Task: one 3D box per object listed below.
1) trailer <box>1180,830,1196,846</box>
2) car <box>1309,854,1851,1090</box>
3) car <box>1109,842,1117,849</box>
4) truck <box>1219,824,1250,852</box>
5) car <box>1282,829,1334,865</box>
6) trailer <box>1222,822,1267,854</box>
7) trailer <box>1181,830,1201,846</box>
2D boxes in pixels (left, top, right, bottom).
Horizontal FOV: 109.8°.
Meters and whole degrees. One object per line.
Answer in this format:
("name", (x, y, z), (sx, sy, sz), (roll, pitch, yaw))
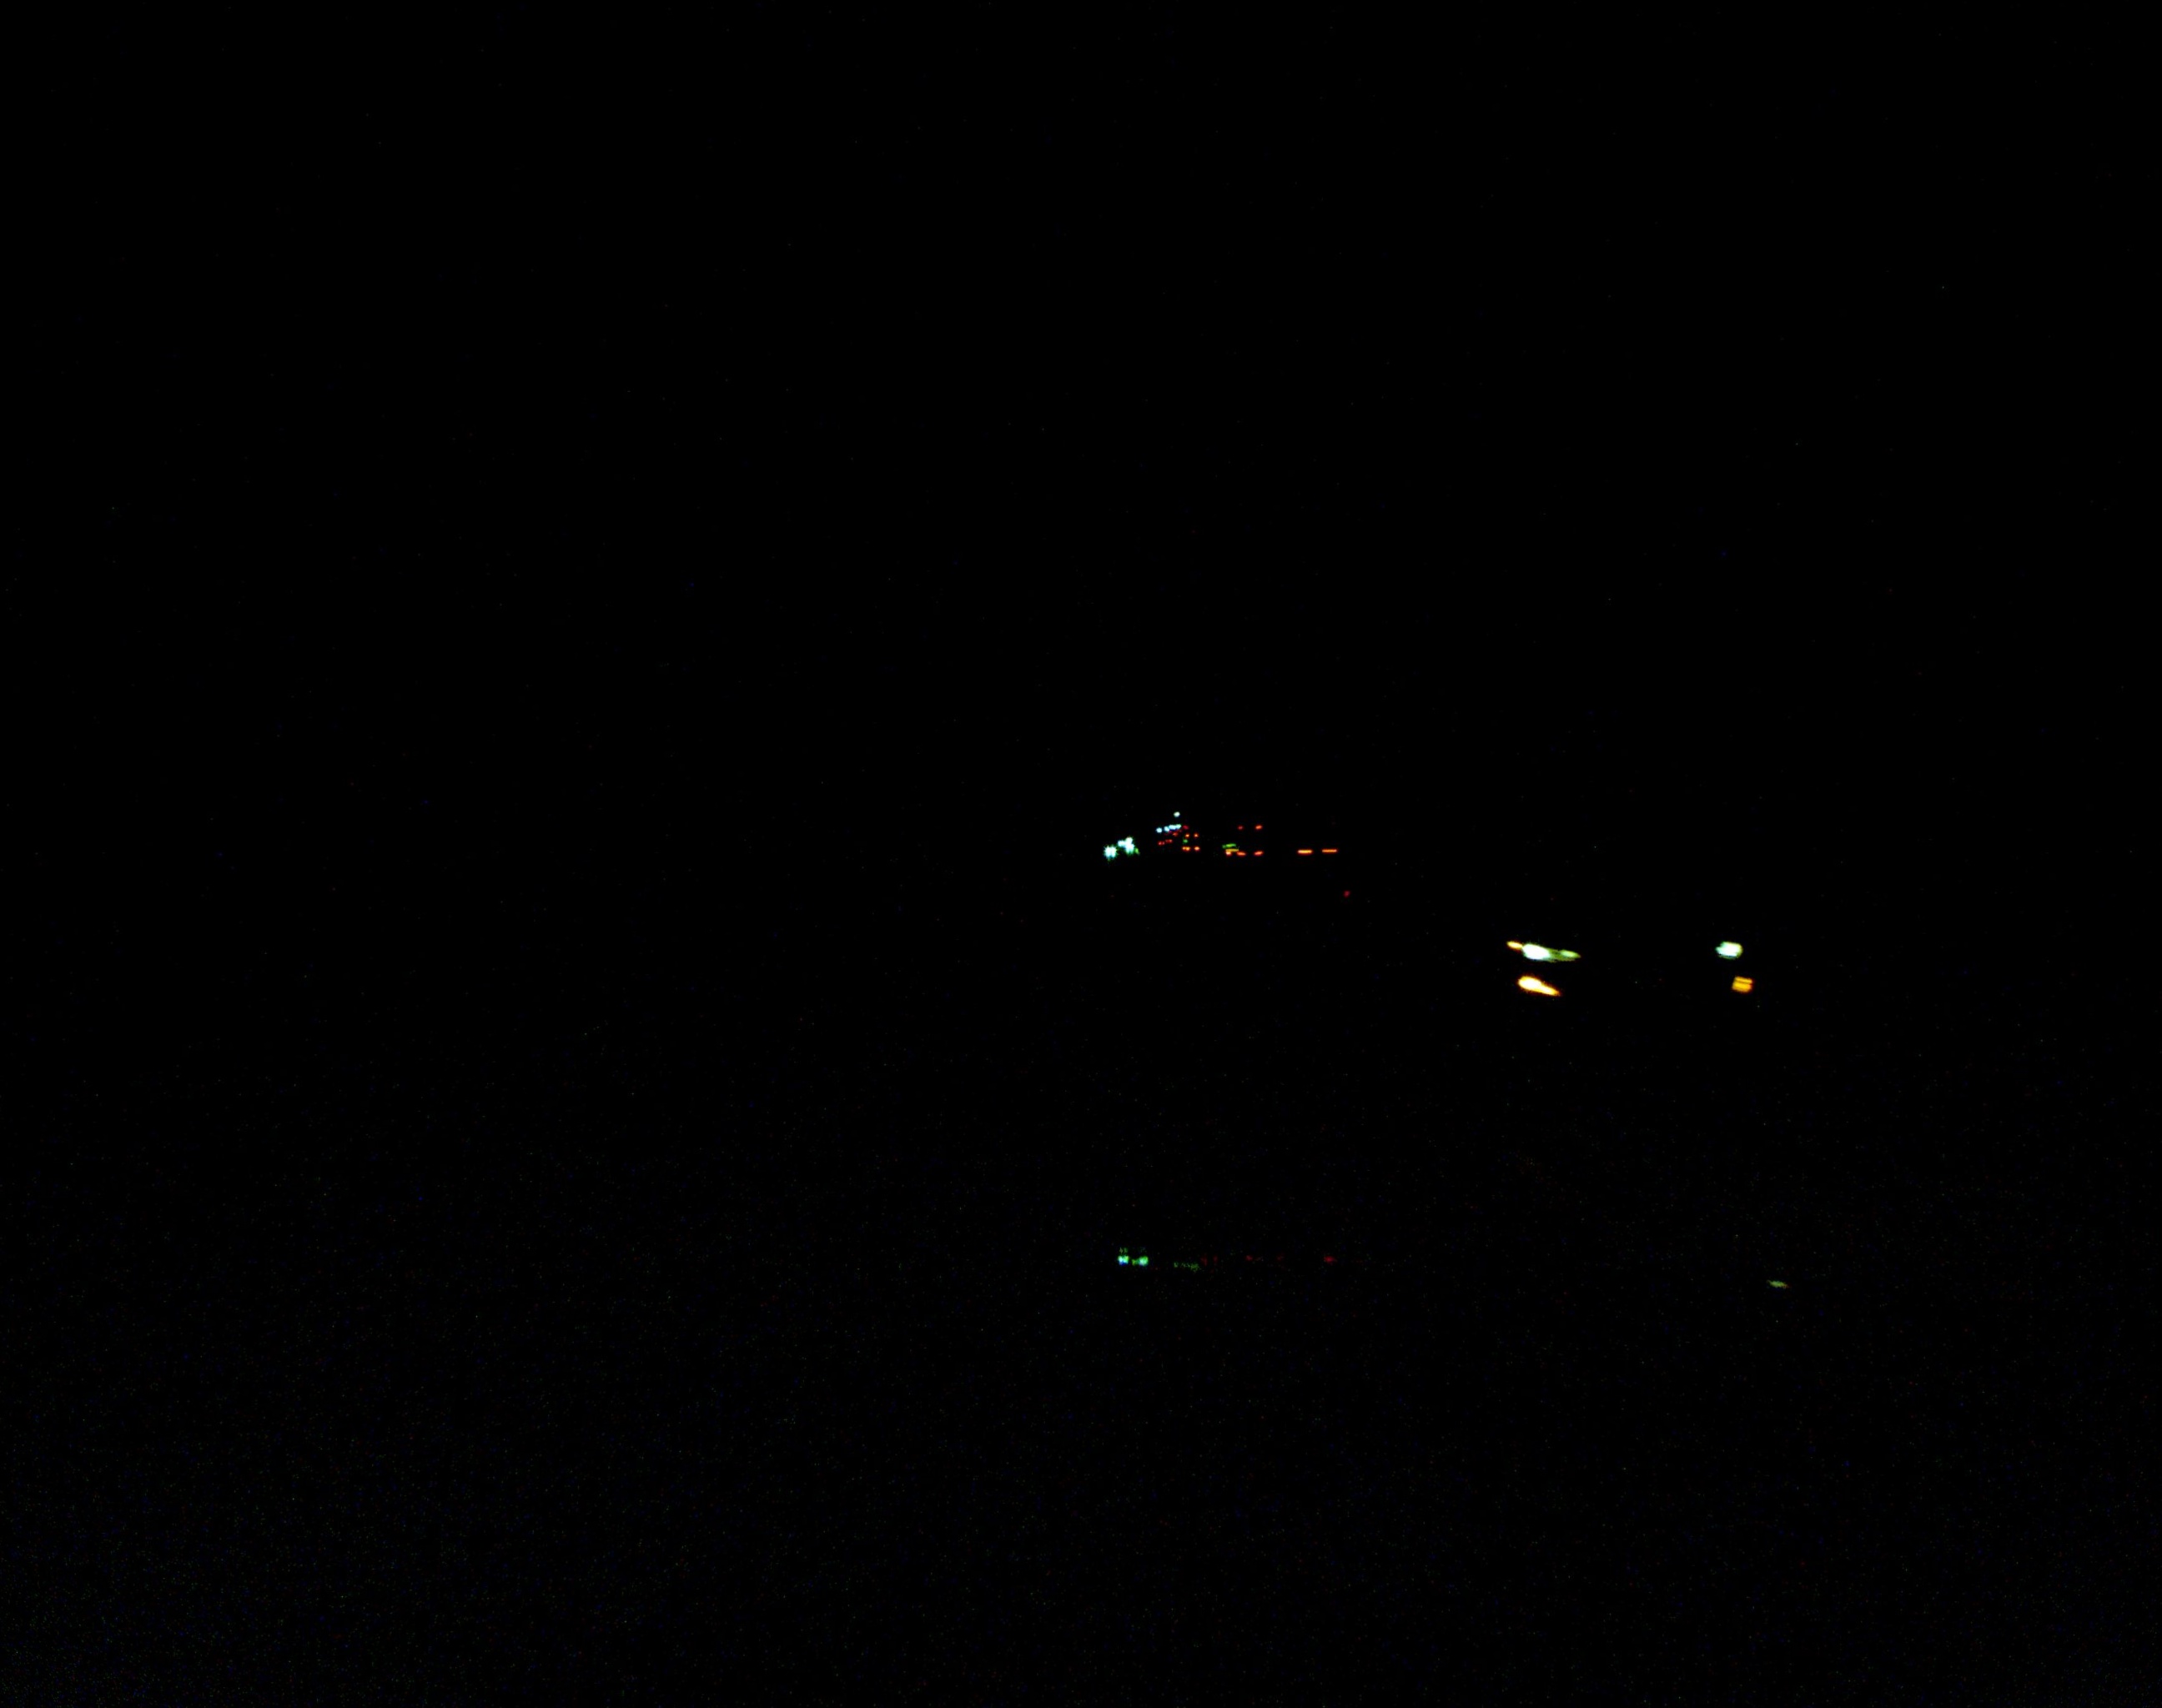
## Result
("trailer", (28.188, -4.137, 200.143), (3.438, 3.957, 7.352), (-2, 1, 2))
("car", (4.166, 0.802, 7.886), (1.998, 1.509, 5.651), (-2, 0, 2))
("car", (8.934, -2.308, 210.306), (1.998, 1.654, 3.999), (-2, 2, 4))
("truck", (22.655, -2.300, 112.532), (3.438, 3.957, 6.206), (-2, 1, 1))
("car", (16.869, -0.541, 56.823), (2.106, 2.503, 6.215), (-2, 1, 1))
("trailer", (22.513, -2.166, 105.554), (3.438, 3.957, 13.810), (-2, 1, 1))
("trailer", (27.891, -4.025, 192.807), (3.438, 3.957, 14.048), (-2, 1, 2))
